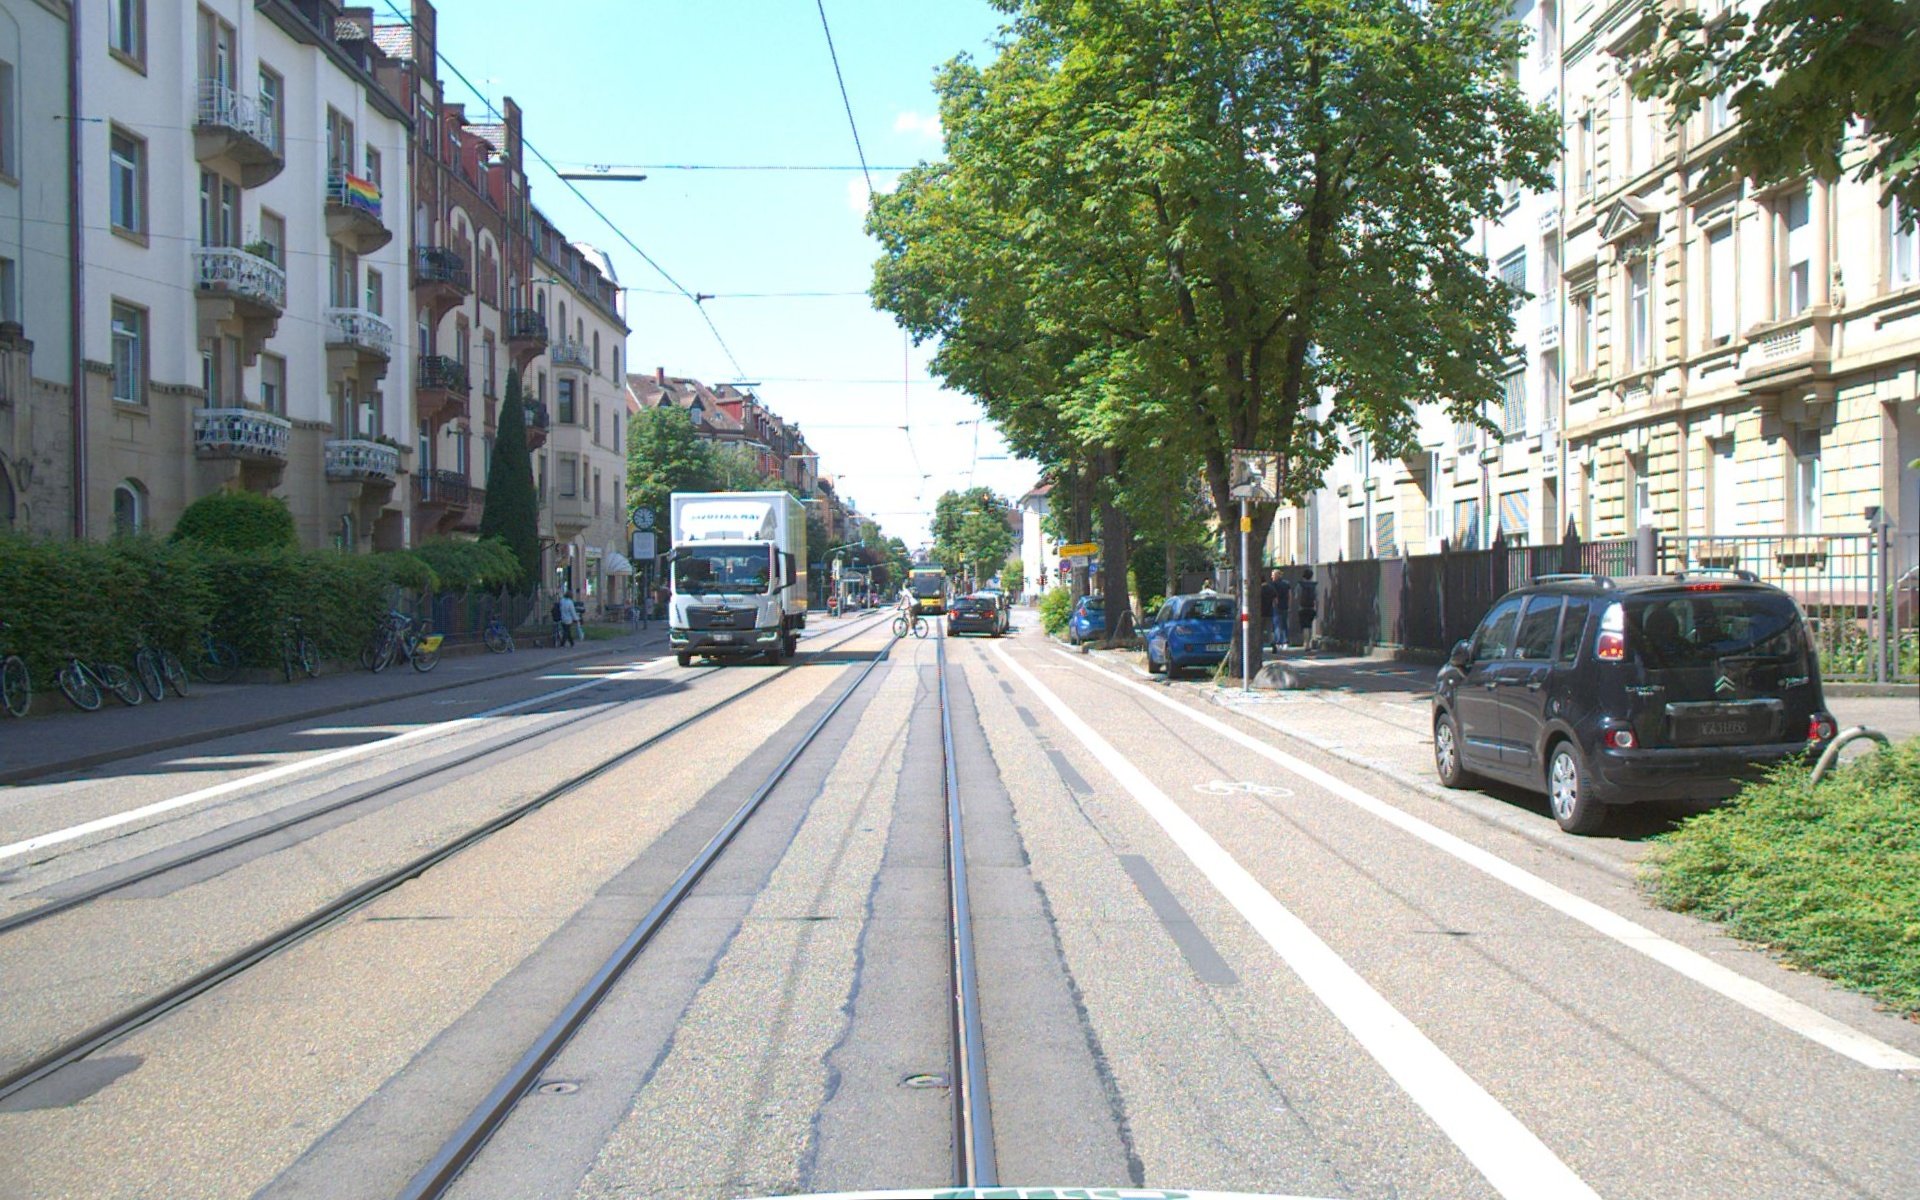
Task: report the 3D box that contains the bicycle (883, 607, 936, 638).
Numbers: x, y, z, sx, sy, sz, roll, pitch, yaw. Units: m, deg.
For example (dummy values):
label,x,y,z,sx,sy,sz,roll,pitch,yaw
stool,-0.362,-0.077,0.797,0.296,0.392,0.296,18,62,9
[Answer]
label,x,y,z,sx,sy,sz,roll,pitch,yaw
bicycle,-1.658,0.733,54.222,1.748,0.986,0.637,0,-2,41

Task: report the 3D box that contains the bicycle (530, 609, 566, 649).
label,x,y,z,sx,sy,sz,roll,pitch,yaw
bicycle,-11.076,0.773,44.528,0.532,0.986,1.781,1,1,-1

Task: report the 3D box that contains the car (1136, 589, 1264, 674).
label,x,y,z,sx,sy,sz,roll,pitch,yaw
car,4.467,0.560,31.337,1.676,1.448,4.308,-1,0,-2

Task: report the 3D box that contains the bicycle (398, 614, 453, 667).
label,x,y,z,sx,sy,sz,roll,pitch,yaw
bicycle,-10.784,0.805,33.408,0.532,0.986,1.781,1,1,-1

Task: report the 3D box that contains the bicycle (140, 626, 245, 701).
label,x,y,z,sx,sy,sz,roll,pitch,yaw
bicycle,-10.660,0.866,23.036,0.532,0.986,1.989,1,-1,0

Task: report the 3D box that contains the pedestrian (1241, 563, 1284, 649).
label,x,y,z,sx,sy,sz,roll,pitch,yaw
pedestrian,6.754,0.142,36.947,0.792,1.892,0.576,-1,-2,-3

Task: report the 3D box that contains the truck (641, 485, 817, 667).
label,x,y,z,sx,sy,sz,roll,pitch,yaw
truck,-5.015,-0.530,37.580,2.880,3.612,8.451,-1,1,-1

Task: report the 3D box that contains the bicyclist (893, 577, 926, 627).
label,x,y,z,sx,sy,sz,roll,pitch,yaw
bicyclist,-1.656,0.074,54.223,0.849,1.644,0.621,-1,-2,41

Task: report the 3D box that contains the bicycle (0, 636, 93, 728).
label,x,y,z,sx,sy,sz,roll,pitch,yaw
bicycle,-10.668,0.914,18.920,0.532,0.986,1.822,1,-1,0

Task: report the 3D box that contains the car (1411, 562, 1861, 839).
label,x,y,z,sx,sy,sz,roll,pitch,yaw
car,4.653,0.614,12.027,1.560,1.645,3.906,-1,0,-2

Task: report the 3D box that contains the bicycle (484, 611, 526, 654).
label,x,y,z,sx,sy,sz,roll,pitch,yaw
bicycle,-11.025,0.774,40.126,0.532,0.986,1.781,1,0,-1

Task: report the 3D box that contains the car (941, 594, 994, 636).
label,x,y,z,sx,sy,sz,roll,pitch,yaw
car,0.238,0.499,57.148,1.745,1.369,3.415,-1,0,-1

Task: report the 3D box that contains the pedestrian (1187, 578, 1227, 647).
label,x,y,z,sx,sy,sz,roll,pitch,yaw
pedestrian,5.672,0.296,37.984,0.791,1.557,0.624,-1,-2,17

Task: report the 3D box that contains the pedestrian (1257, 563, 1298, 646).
label,x,y,z,sx,sy,sz,roll,pitch,yaw
pedestrian,7.377,0.108,38.416,0.792,1.892,0.623,-1,-2,-3

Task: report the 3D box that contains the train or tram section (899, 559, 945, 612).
label,x,y,z,sx,sy,sz,roll,pitch,yaw
train or tram section,-2.593,-0.993,115.669,2.973,3.498,11.969,-1,0,0

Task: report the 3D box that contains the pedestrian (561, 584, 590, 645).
label,x,y,z,sx,sy,sz,roll,pitch,yaw
pedestrian,-10.471,0.392,45.057,0.561,1.644,0.816,-1,0,-1

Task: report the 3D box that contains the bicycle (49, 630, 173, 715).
label,x,y,z,sx,sy,sz,roll,pitch,yaw
bicycle,-10.684,0.893,20.885,0.532,0.986,1.989,1,0,0

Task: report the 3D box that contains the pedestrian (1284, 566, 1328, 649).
label,x,y,z,sx,sy,sz,roll,pitch,yaw
pedestrian,7.607,0.174,36.380,0.792,1.806,0.623,-1,-2,-3

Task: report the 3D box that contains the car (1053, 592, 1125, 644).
label,x,y,z,sx,sy,sz,roll,pitch,yaw
car,3.831,0.533,49.535,1.676,1.448,4.308,-1,0,-2

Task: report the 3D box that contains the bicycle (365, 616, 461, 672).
label,x,y,z,sx,sy,sz,roll,pitch,yaw
bicycle,-10.040,0.808,30.421,0.532,0.986,1.778,0,-1,28

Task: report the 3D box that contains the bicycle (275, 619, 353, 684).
label,x,y,z,sx,sy,sz,roll,pitch,yaw
bicycle,-10.767,0.838,27.623,0.532,0.986,1.990,1,1,0
